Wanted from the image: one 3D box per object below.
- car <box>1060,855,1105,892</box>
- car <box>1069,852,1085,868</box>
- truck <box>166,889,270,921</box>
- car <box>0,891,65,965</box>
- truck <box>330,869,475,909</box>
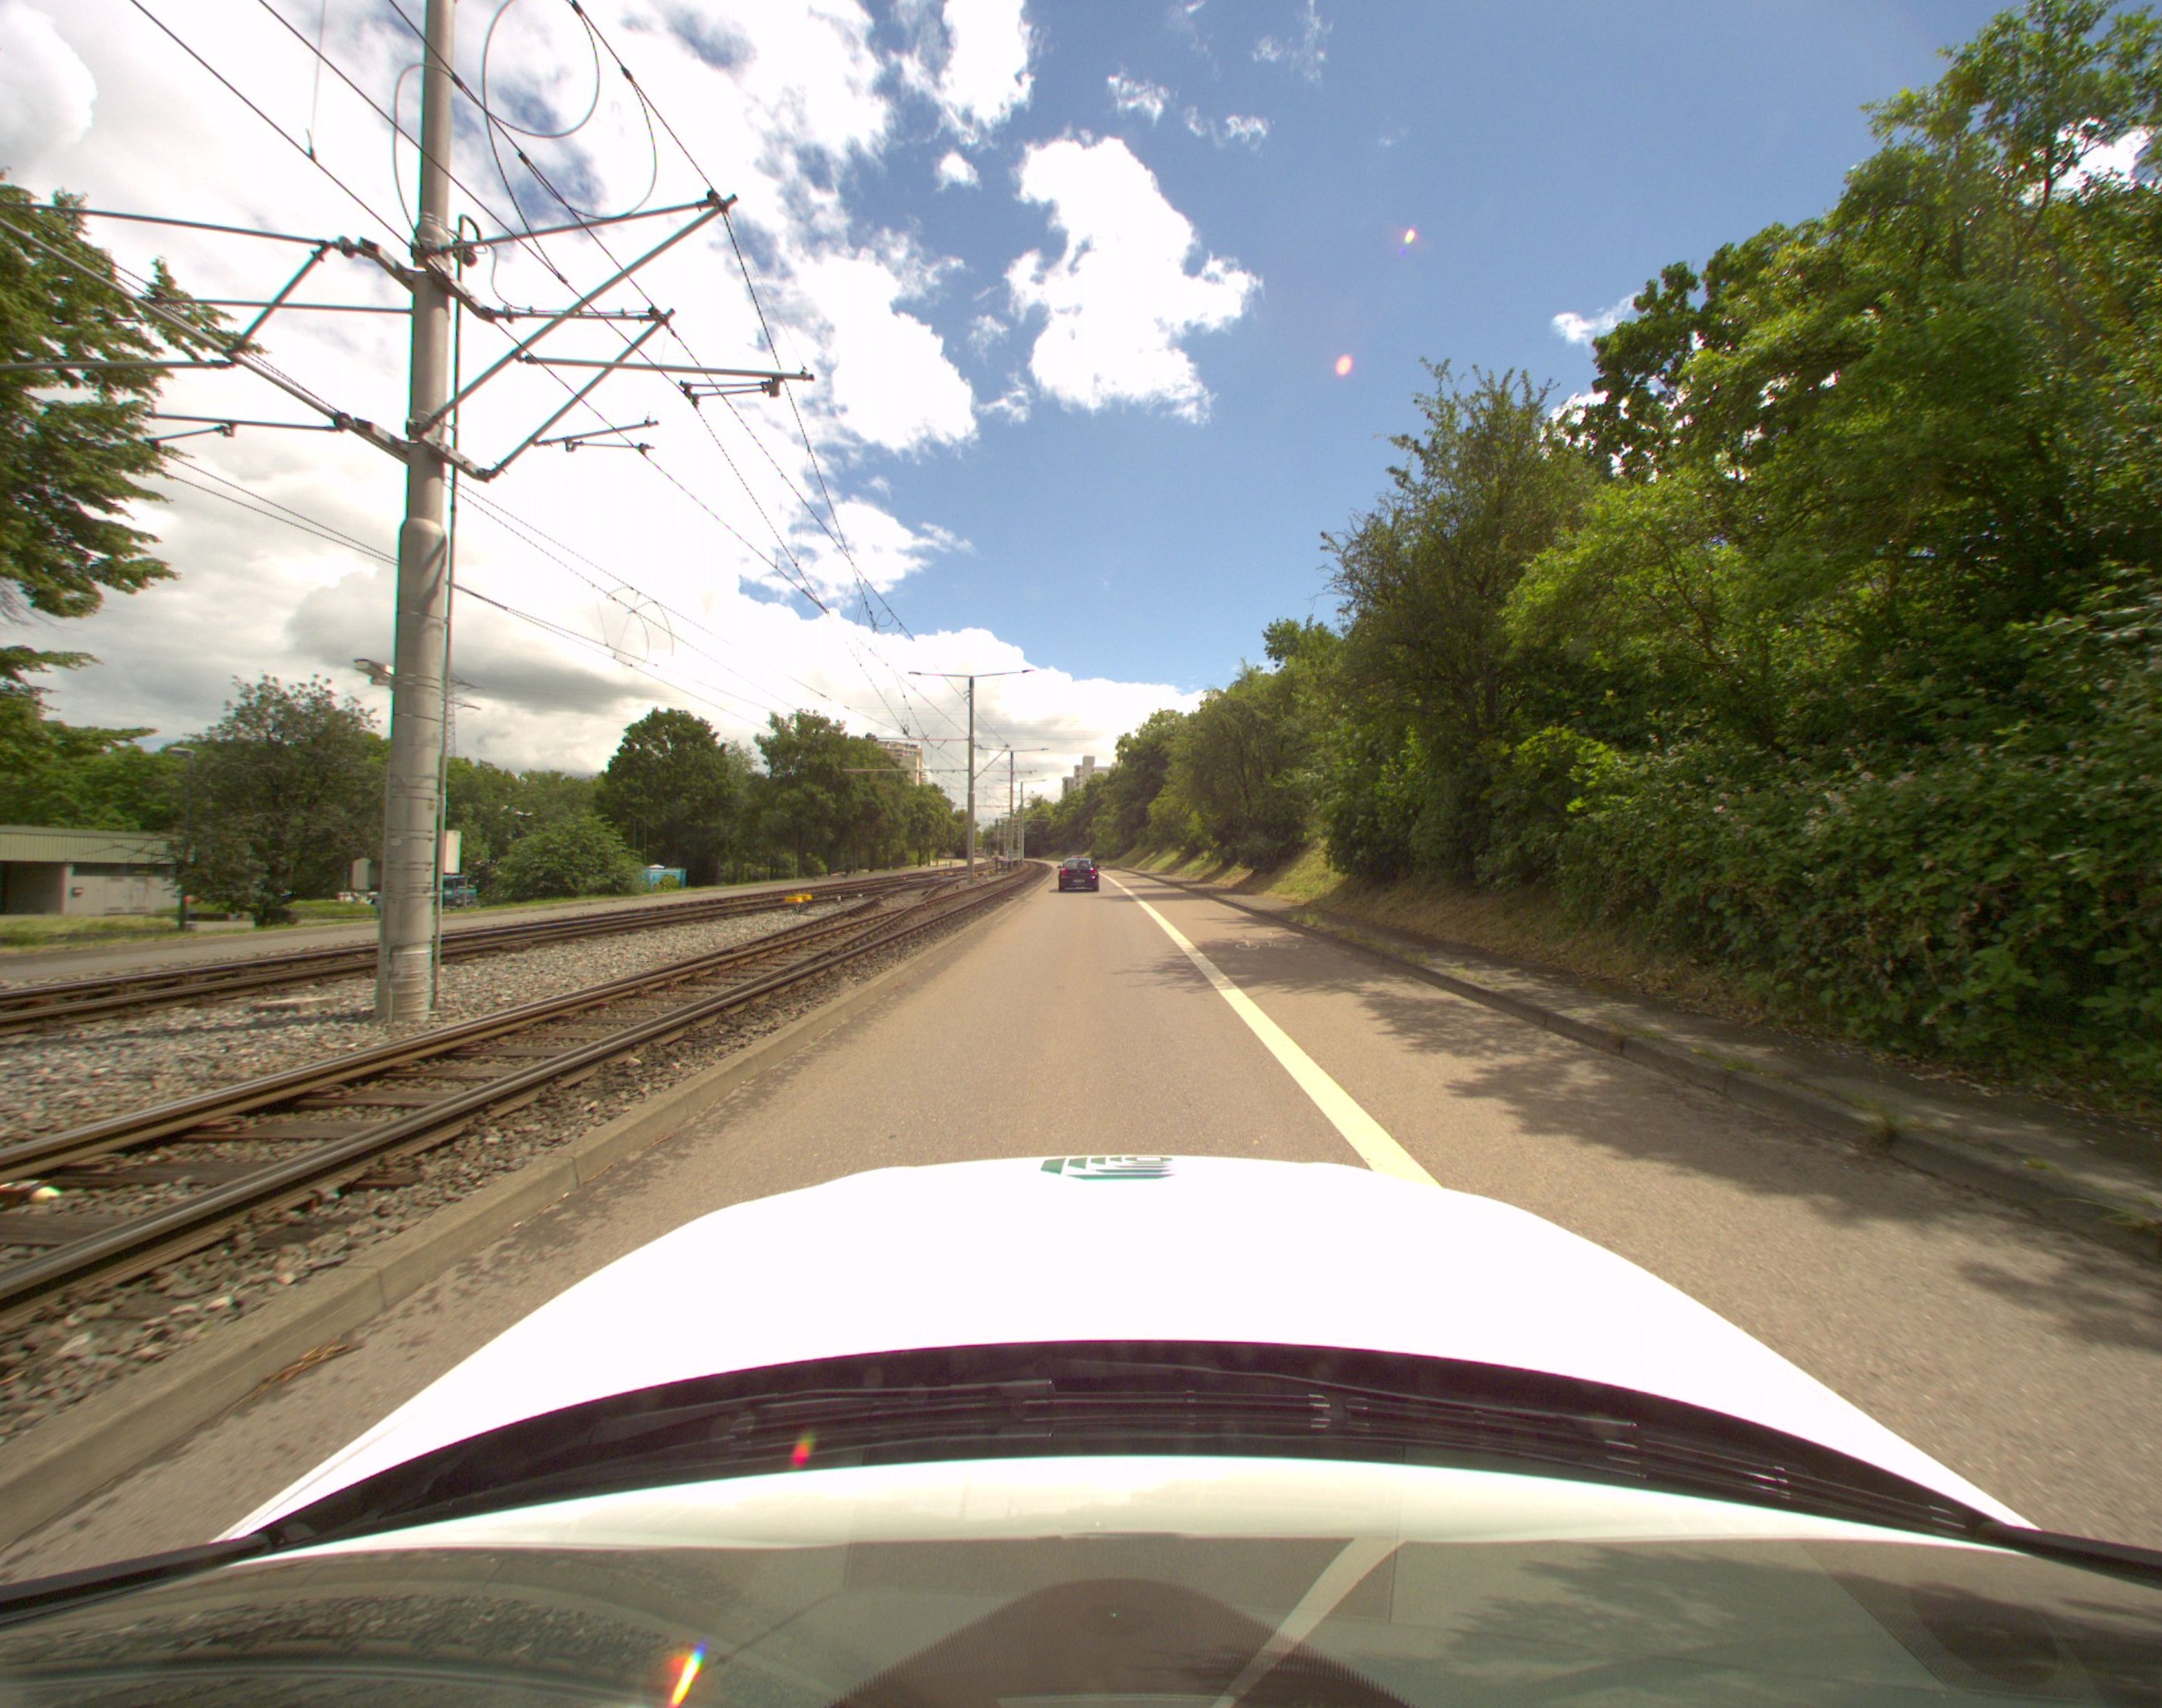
[{"bbox_3d":[0.112,0.812,35.303,1.701,1.460,3.963,2,-1,3],"label":"car"},{"bbox_3d":[-0.399,0.557,81.391,1.619,1.443,3.421,1,1,-1],"label":"car"},{"bbox_3d":[-67.835,3.981,64.077,5.814,2.178,1.998,-2,0,-3],"label":"truck"},{"bbox_3d":[-27.846,1.907,19.571,1.810,1.772,3.999,-1,0,0],"label":"car"},{"bbox_3d":[-53.136,2.741,63.923,9.060,2.695,2.615,-2,0,0],"label":"truck"}]
